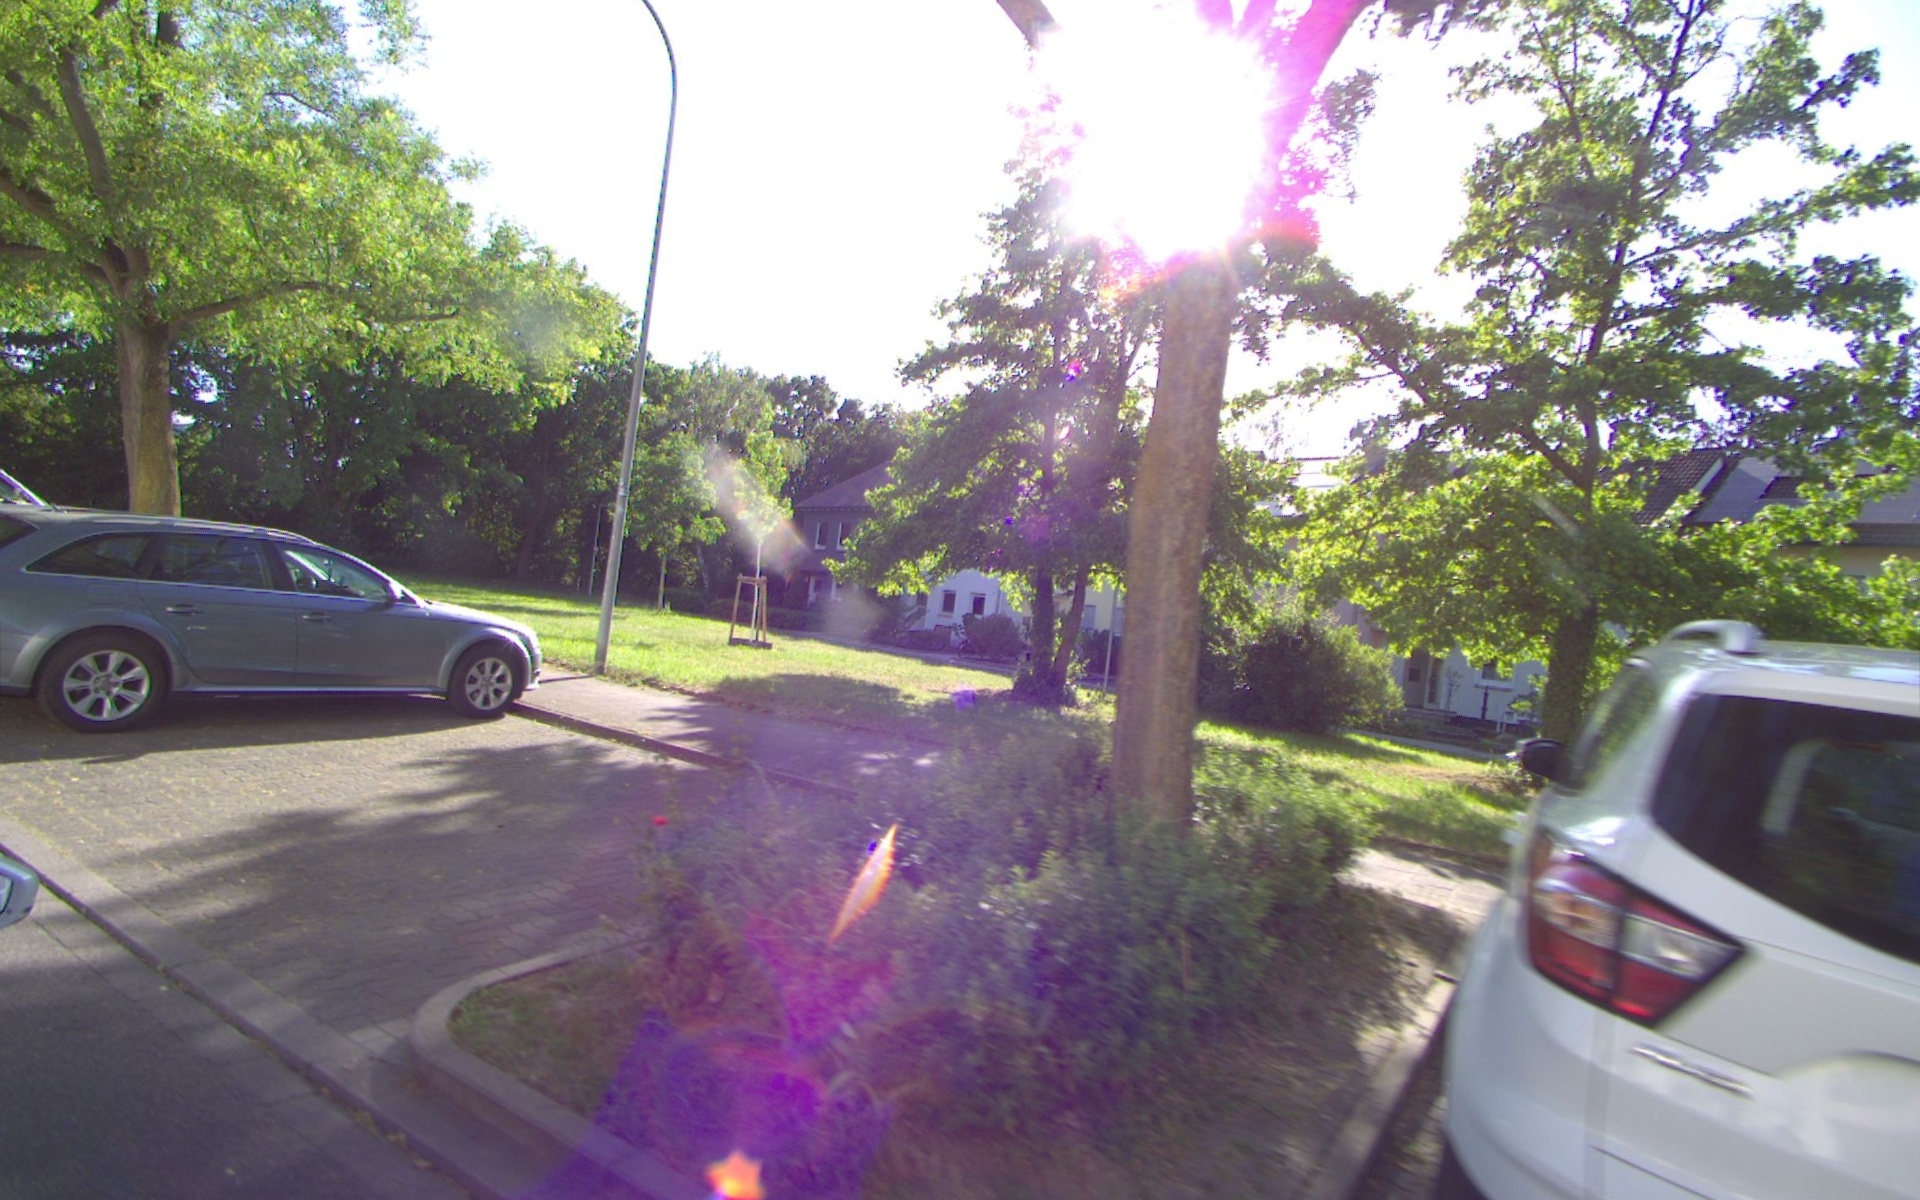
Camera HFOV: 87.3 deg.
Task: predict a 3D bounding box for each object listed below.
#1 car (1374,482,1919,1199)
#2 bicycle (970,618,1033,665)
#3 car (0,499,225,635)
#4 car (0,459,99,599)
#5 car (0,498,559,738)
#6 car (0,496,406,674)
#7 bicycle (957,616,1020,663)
[{"bbox_3d":[2.475,0.944,2.898,1.716,1.785,4.047,7,-1,32],"label":"car"},{"bbox_3d":[1.599,1.599,37.994,0.812,1.460,2.913,7,-2,35],"label":"bicycle"},{"bbox_3d":[-11.674,-0.482,12.359,1.611,1.453,3.906,7,0,37],"label":"car"},{"bbox_3d":[-15.927,-1.275,14.846,1.989,2.042,4.452,7,0,35],"label":"car"},{"bbox_3d":[-5.805,0.164,8.201,1.716,1.489,4.485,7,0,31],"label":"car"},{"bbox_3d":[-7.848,-0.119,9.814,1.610,1.454,3.907,7,1,34],"label":"car"},{"bbox_3d":[1.145,1.555,38.964,0.812,1.491,2.913,7,-2,35],"label":"bicycle"}]
